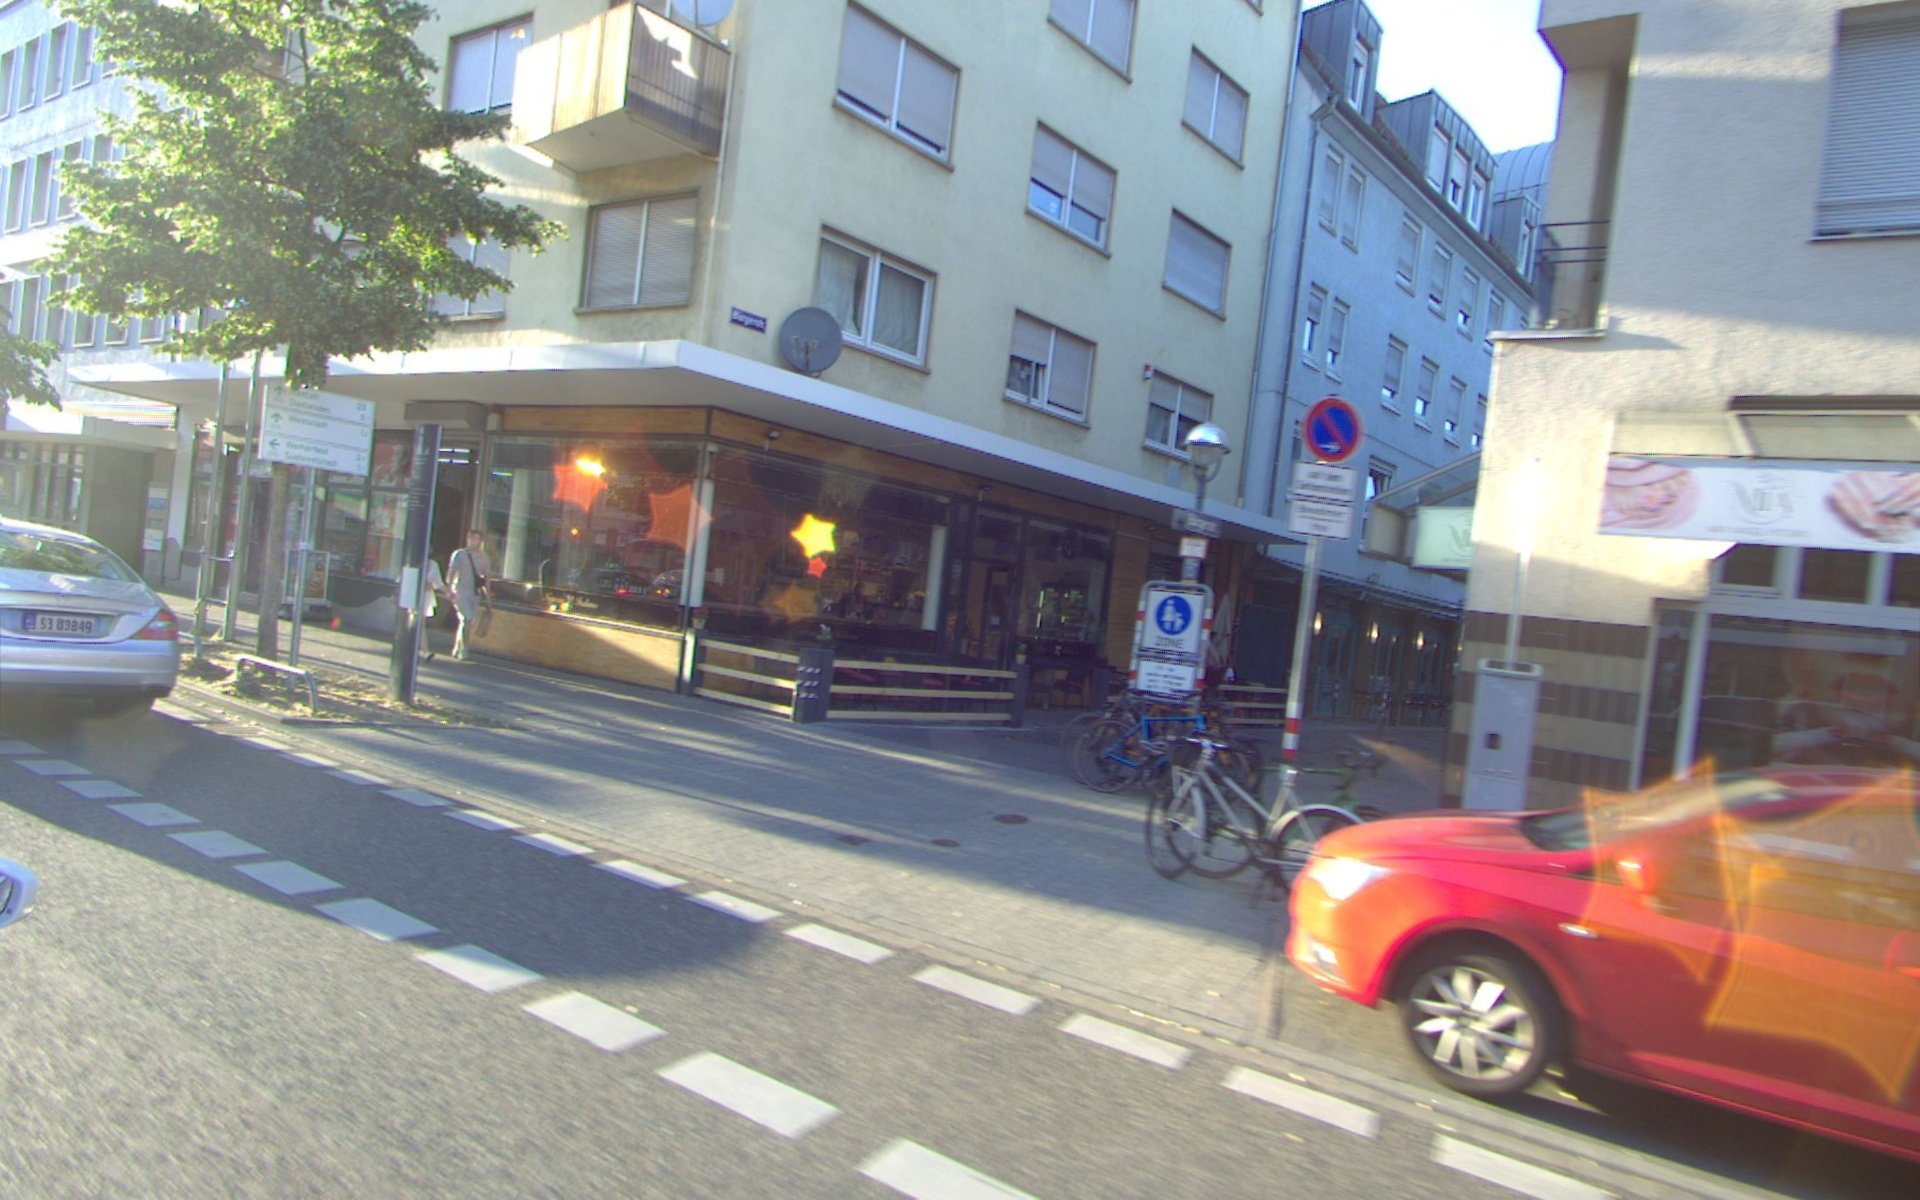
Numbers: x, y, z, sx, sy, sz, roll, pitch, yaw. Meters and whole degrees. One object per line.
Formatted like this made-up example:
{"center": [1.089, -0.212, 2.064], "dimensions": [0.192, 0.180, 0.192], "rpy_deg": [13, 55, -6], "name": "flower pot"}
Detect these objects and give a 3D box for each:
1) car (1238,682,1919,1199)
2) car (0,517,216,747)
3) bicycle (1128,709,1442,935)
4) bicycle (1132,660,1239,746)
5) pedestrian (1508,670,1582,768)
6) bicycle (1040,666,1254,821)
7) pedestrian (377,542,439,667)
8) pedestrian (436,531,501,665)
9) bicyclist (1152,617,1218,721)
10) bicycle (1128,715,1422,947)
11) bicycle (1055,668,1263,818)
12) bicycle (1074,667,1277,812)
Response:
{"center": [3.315, 1.336, 4.015], "dimensions": [3.859, 1.452, 1.590], "rpy_deg": [7, 1, 30], "name": "car"}
{"center": [-7.889, 0.023, 7.713], "dimensions": [4.561, 1.417, 1.746], "rpy_deg": [7, -2, 30], "name": "car"}
{"center": [2.067, 1.384, 6.590], "dimensions": [1.852, 1.059, 0.314], "rpy_deg": [6, 1, 34], "name": "bicycle"}
{"center": [3.427, 1.573, 15.143], "dimensions": [0.459, 1.161, 1.968], "rpy_deg": [10, 1, 44], "name": "bicycle"}
{"center": [10.758, 2.185, 18.514], "dimensions": [0.787, 1.698, 0.699], "rpy_deg": [4, 2, -24], "name": "pedestrian"}
{"center": [1.690, 1.284, 9.294], "dimensions": [1.848, 1.118, 0.321], "rpy_deg": [6, 0, 31], "name": "bicycle"}
{"center": [-7.367, 0.058, 13.430], "dimensions": [0.401, 1.614, 0.519], "rpy_deg": [7, 3, 30], "name": "pedestrian"}
{"center": [-6.808, -0.026, 13.935], "dimensions": [0.494, 1.782, 0.543], "rpy_deg": [7, 3, 30], "name": "pedestrian"}
{"center": [3.348, 1.028, 14.972], "dimensions": [0.714, 1.452, 0.456], "rpy_deg": [7, 2, -45], "name": "bicyclist"}
{"center": [1.916, 1.375, 6.276], "dimensions": [1.638, 1.059, 0.314], "rpy_deg": [6, 1, 34], "name": "bicycle"}
{"center": [1.854, 1.315, 9.569], "dimensions": [1.856, 1.118, 0.291], "rpy_deg": [6, 0, 31], "name": "bicycle"}
{"center": [2.084, 1.332, 9.886], "dimensions": [1.848, 1.118, 0.321], "rpy_deg": [6, 0, 31], "name": "bicycle"}
